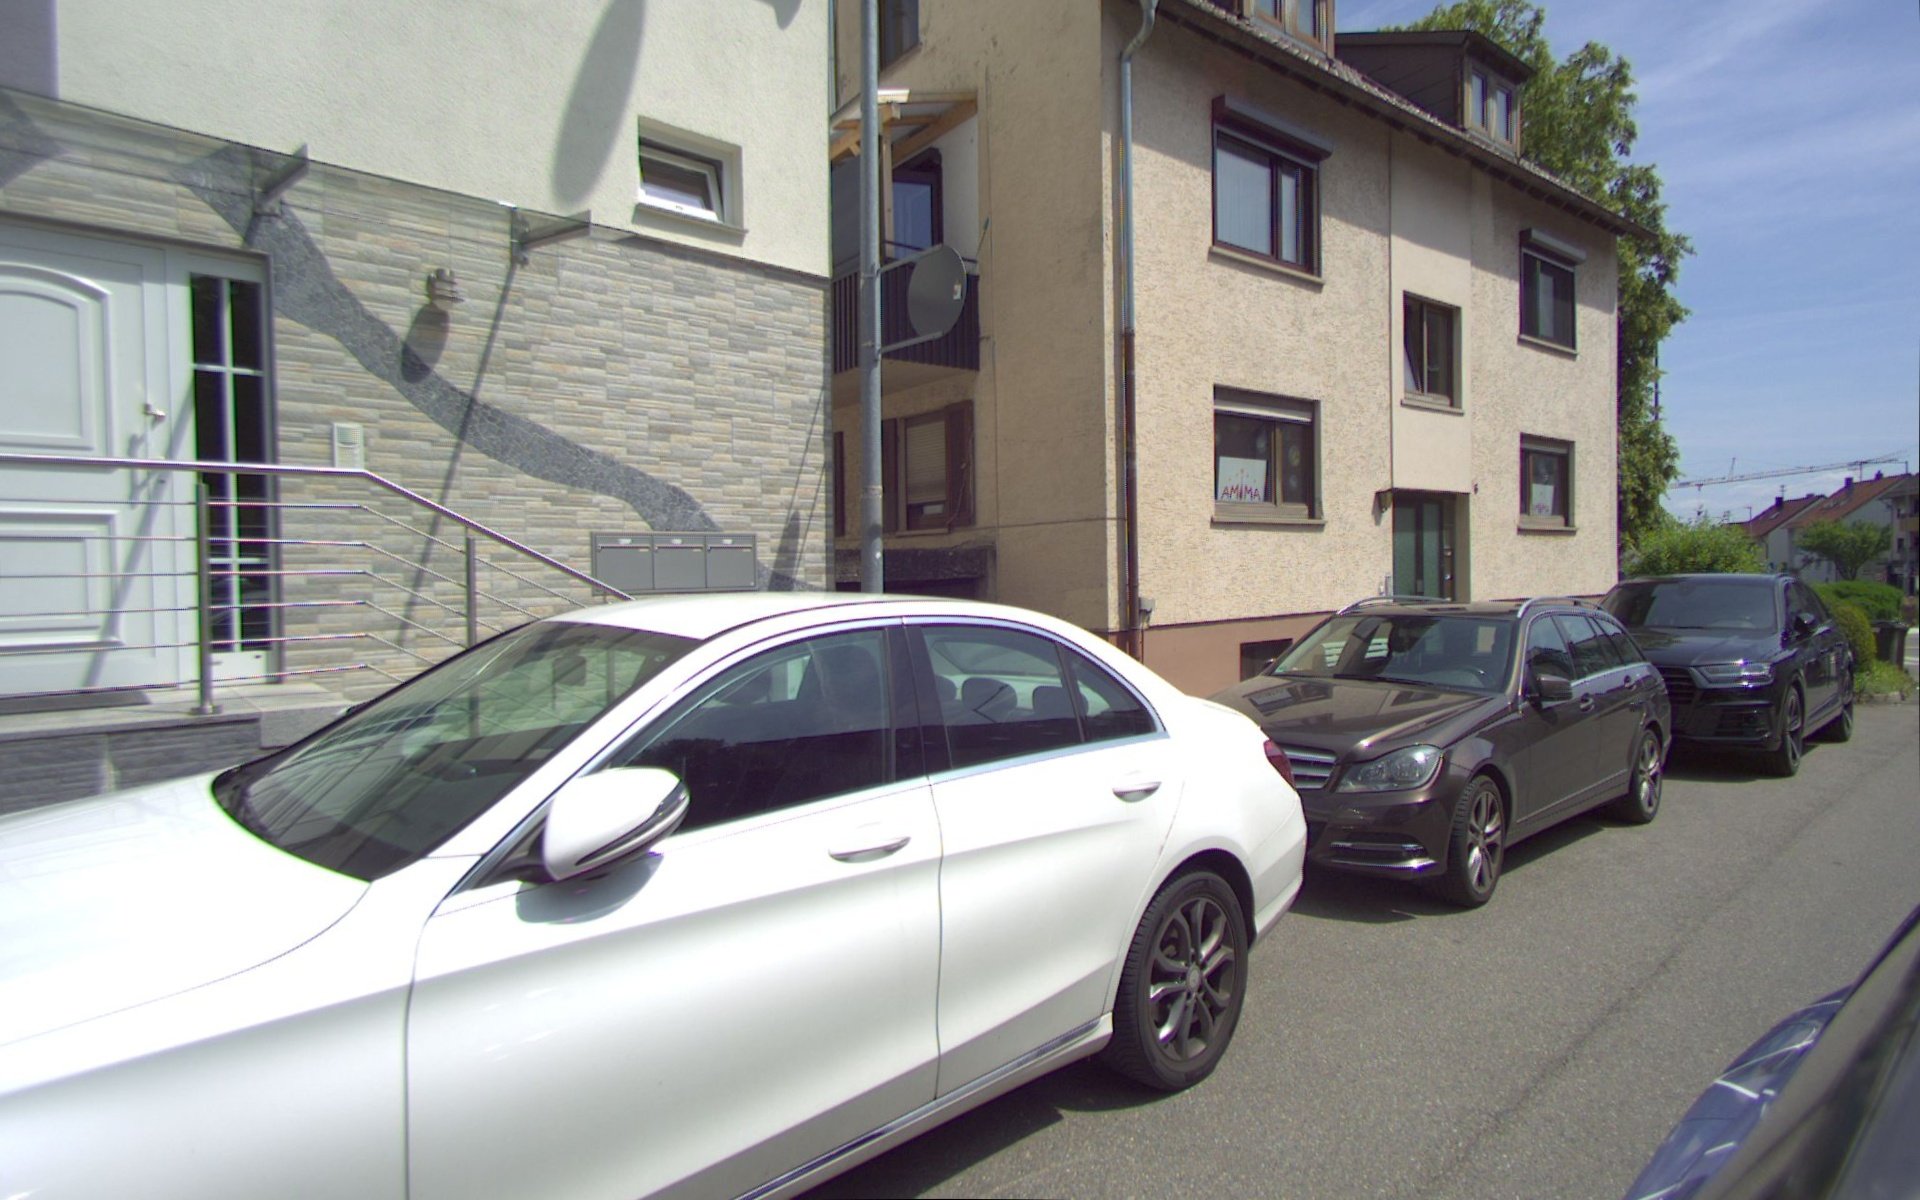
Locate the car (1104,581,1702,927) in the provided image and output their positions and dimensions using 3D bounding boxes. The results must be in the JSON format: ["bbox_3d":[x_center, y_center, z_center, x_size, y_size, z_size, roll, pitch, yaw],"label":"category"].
[{"bbox_3d":[2.995,0.631,6.340,4.282,1.438,1.792,0,1,-41],"label":"car"}]

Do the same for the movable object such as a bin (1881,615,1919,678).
[{"bbox_3d":[15.603,0.758,16.755,0.499,1.006,0.496,-1,0,40],"label":"movable object such as a bin"}]

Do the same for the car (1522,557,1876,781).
[{"bbox_3d":[7.338,0.489,9.853,4.575,1.691,1.846,-1,0,-42],"label":"car"}]

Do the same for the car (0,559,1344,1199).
[{"bbox_3d":[-0.946,0.669,2.558,4.638,1.473,1.790,0,1,-44],"label":"car"}]

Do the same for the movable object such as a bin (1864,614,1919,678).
[{"bbox_3d":[14.982,0.728,16.273,0.491,1.006,0.527,0,-1,-27],"label":"movable object such as a bin"}]
